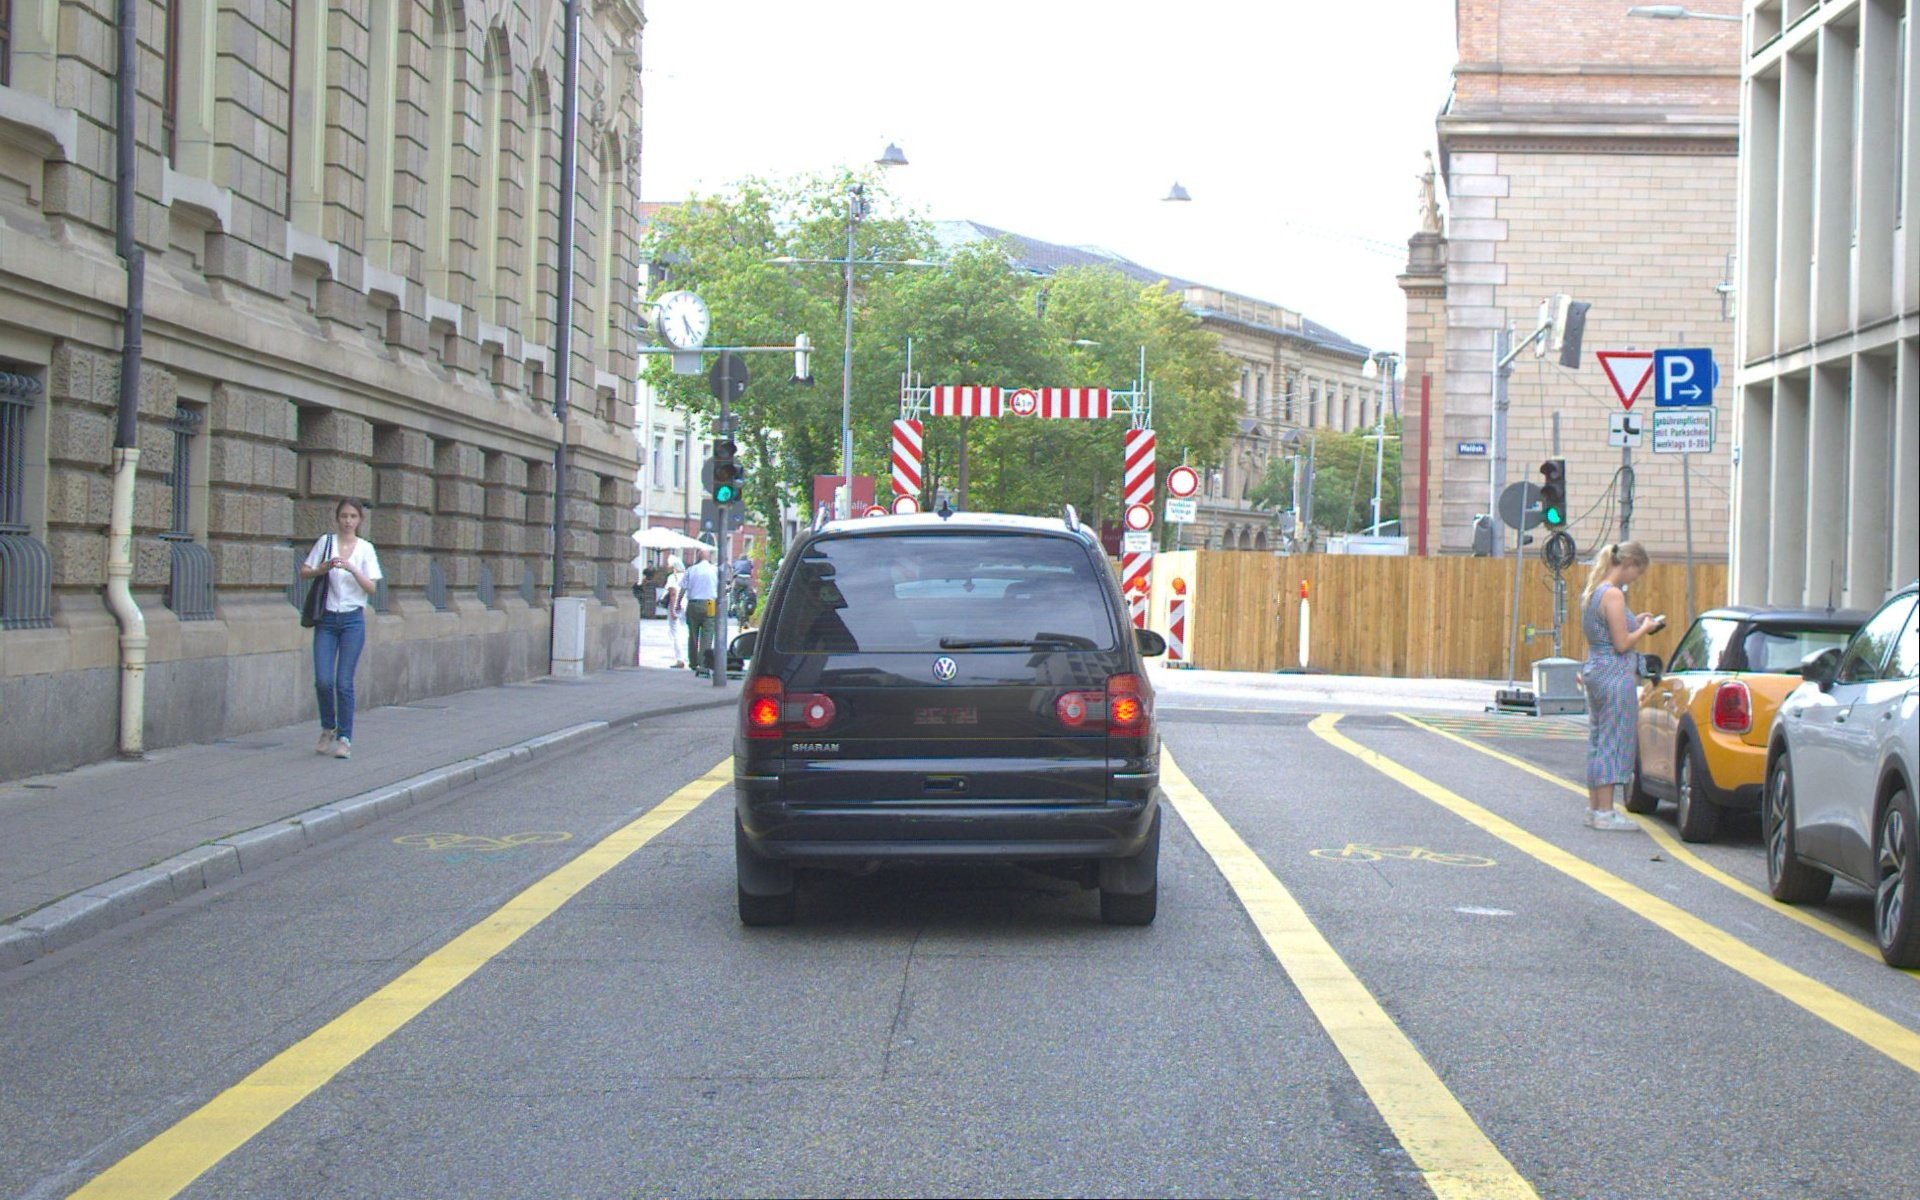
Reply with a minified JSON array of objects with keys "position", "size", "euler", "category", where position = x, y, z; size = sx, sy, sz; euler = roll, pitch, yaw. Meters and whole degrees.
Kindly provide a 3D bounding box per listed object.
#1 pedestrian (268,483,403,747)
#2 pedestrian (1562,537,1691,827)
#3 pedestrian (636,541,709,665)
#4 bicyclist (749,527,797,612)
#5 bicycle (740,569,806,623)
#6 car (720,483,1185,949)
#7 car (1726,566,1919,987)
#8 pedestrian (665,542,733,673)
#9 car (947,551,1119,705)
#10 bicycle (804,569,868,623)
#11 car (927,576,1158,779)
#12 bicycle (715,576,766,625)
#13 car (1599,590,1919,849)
[{"position":[-4.442,0.104,24.503],"size":[0.664,1.813,1.048],"euler":[3,0,1],"category":"pedestrian"},{"position":[4.134,0.499,21.359],"size":[0.698,1.758,0.705],"euler":[1,0,5],"category":"pedestrian"},{"position":[-4.338,0.036,51.787],"size":[0.792,1.813,1.048],"euler":[3,0,-18],"category":"pedestrian"},{"position":[-3.568,-0.580,65.436],"size":[0.735,1.606,0.695],"euler":[1,0,-18],"category":"bicyclist"},{"position":[-3.562,-0.076,65.415],"size":[0.735,1.005,2.069],"euler":[1,0,-18],"category":"bicycle"},{"position":[0.087,0.446,15.407],"size":[1.790,1.784,4.103],"euler":[1,0,3],"category":"car"},{"position":[4.740,0.732,15.192],"size":[1.860,1.599,4.511],"euler":[4,0,4],"category":"car"},{"position":[-3.727,0.104,49.203],"size":[0.792,1.813,1.048],"euler":[3,0,1],"category":"pedestrian"},{"position":[0.788,0.295,37.958],"size":[1.773,1.580,4.000],"euler":[1,0,1],"category":"car"},{"position":[-2.394,-0.083,66.180],"size":[0.735,1.005,2.069],"euler":[1,0,-16],"category":"bicycle"},{"position":[0.706,0.570,27.639],"size":[1.678,1.464,4.103],"euler":[2,0,3],"category":"car"},{"position":[-4.692,0.009,73.407],"size":[0.735,1.005,2.069],"euler":[1,0,-13],"category":"bicycle"},{"position":[5.160,0.694,21.773],"size":[1.680,1.430,3.886],"euler":[3,0,4],"category":"car"}]
